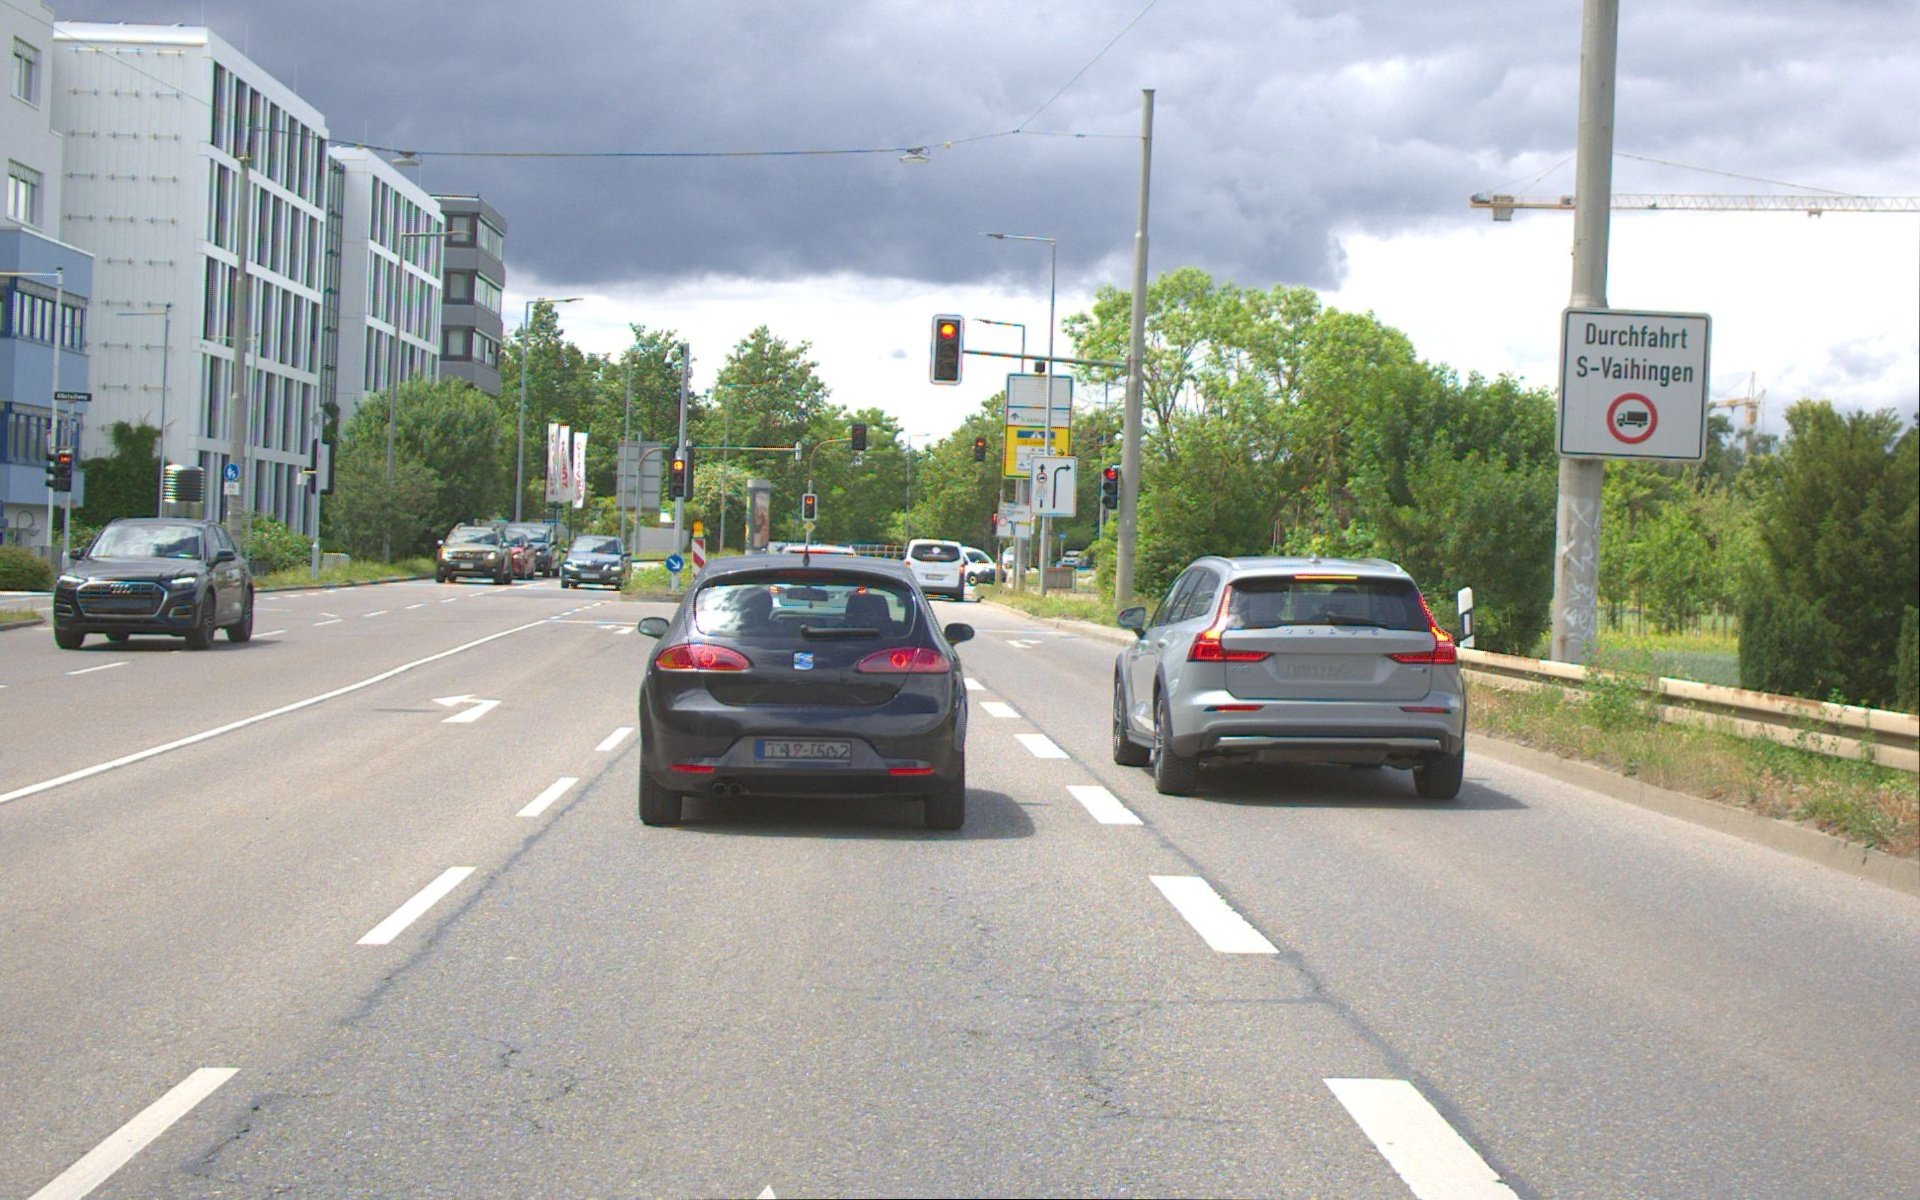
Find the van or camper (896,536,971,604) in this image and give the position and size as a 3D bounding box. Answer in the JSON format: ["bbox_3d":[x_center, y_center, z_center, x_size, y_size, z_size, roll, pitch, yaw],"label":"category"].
[{"bbox_3d":[-0.849,-0.935,106.240,1.899,1.919,4.001,4,0,-5],"label":"van or camper"}]

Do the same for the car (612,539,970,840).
[{"bbox_3d":[-0.845,0.439,19.304,1.748,1.479,4.000,1,0,1],"label":"car"}]

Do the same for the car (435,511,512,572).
[{"bbox_3d":[-13.387,-1.605,94.768,1.751,1.625,4.001,0,1,-3],"label":"car"}]

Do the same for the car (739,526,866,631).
[{"bbox_3d":[-2.659,-0.395,57.529,1.983,1.584,4.227,2,1,-3],"label":"car"}]

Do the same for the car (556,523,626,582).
[{"bbox_3d":[-10.015,-1.312,93.477,1.668,1.519,4.009,0,2,-3],"label":"car"}]

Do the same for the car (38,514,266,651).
[{"bbox_3d":[-10.258,-0.227,43.984,1.867,1.609,4.572,2,0,-1],"label":"car"}]

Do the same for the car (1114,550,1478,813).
[{"bbox_3d":[2.063,0.461,22.278,1.958,1.520,4.340,1,0,1],"label":"car"}]
